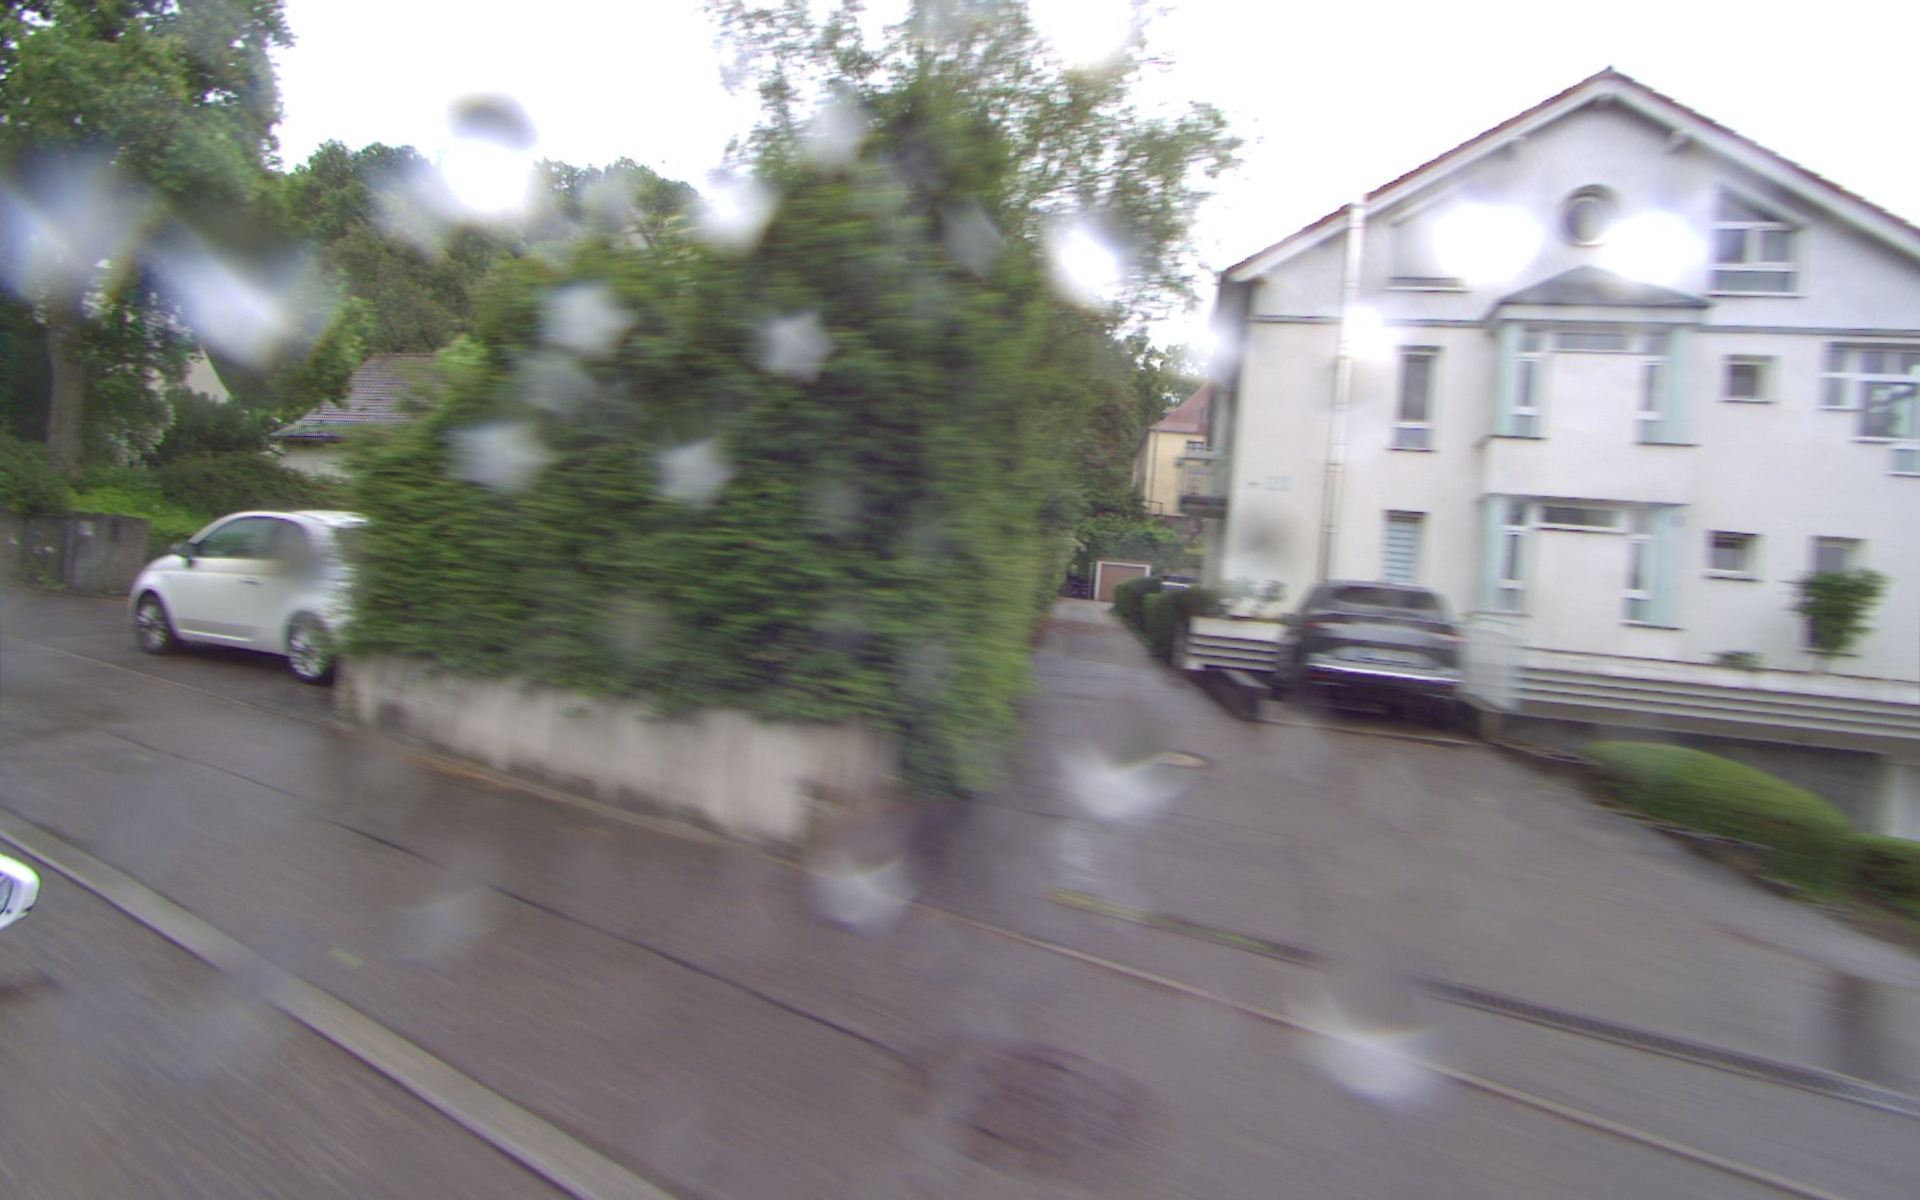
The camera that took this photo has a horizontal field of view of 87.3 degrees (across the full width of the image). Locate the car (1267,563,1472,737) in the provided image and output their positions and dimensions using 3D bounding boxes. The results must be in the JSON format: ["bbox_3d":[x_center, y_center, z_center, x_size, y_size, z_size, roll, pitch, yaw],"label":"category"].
[{"bbox_3d":[4.929,0.563,12.673,1.696,1.654,4.278,6,0,15],"label":"car"}]

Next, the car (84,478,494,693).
[{"bbox_3d":[-6.684,-0.214,9.994,3.775,1.557,1.534,8,4,23],"label":"car"}]
